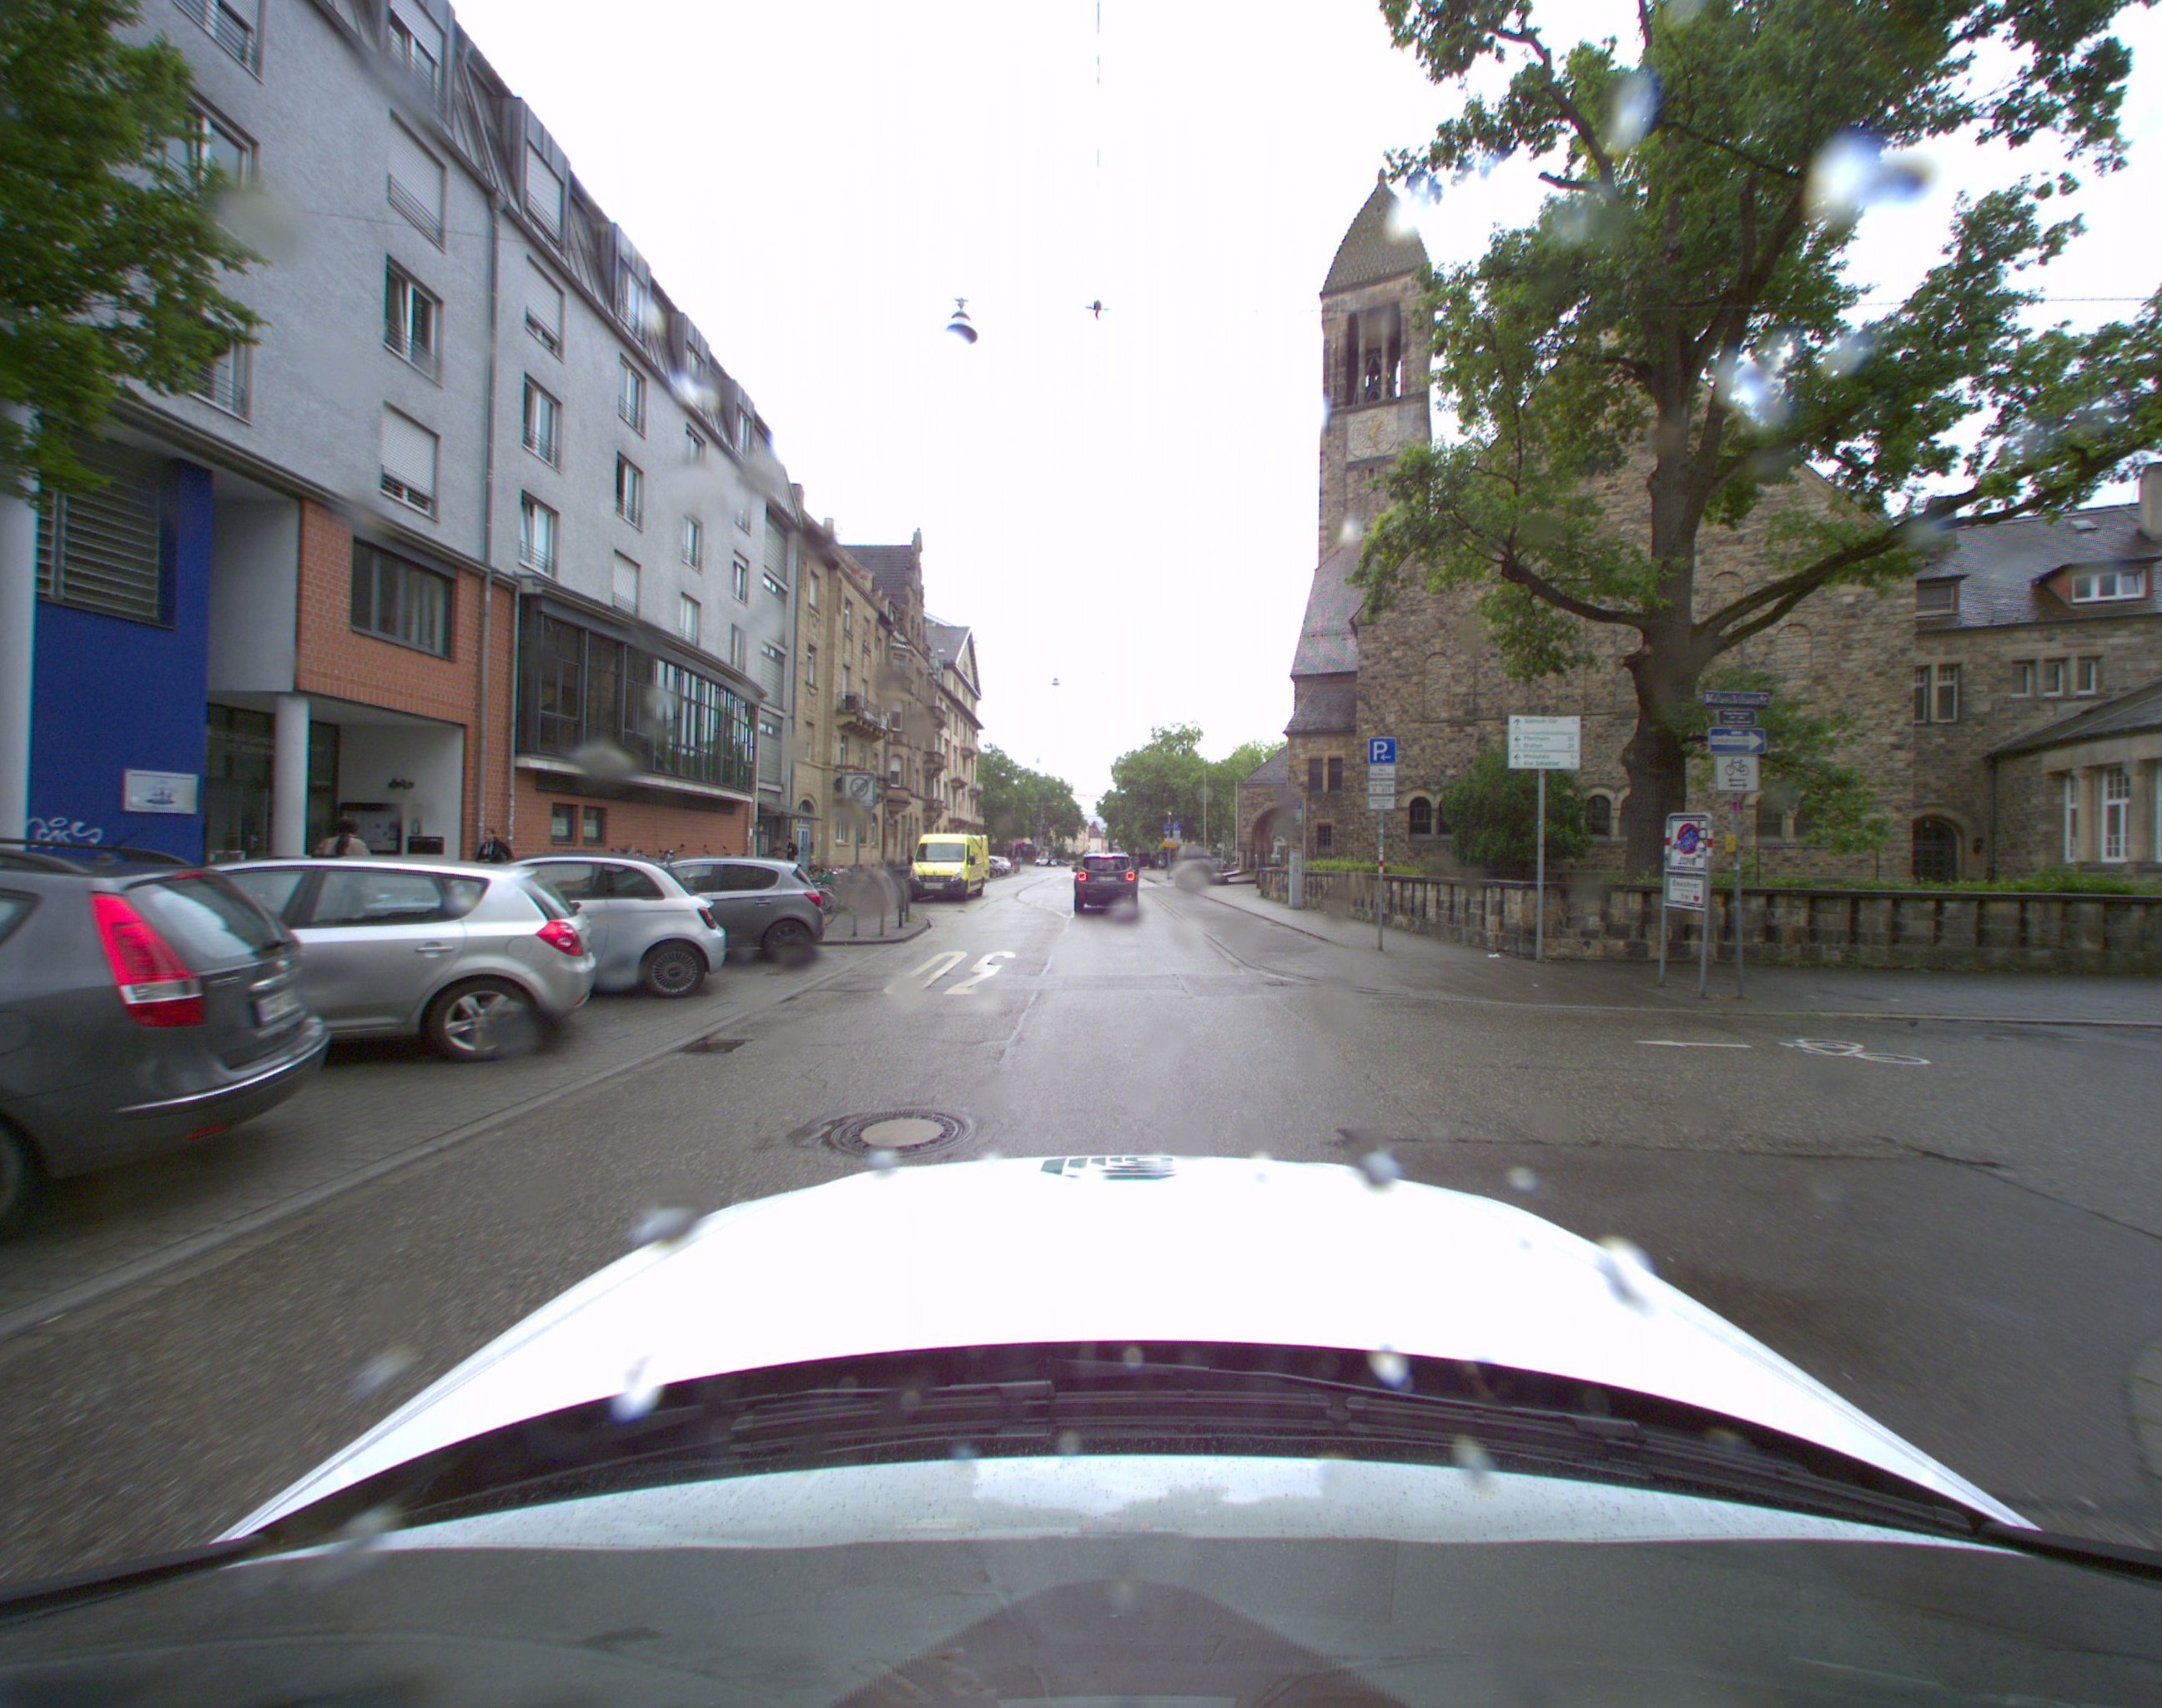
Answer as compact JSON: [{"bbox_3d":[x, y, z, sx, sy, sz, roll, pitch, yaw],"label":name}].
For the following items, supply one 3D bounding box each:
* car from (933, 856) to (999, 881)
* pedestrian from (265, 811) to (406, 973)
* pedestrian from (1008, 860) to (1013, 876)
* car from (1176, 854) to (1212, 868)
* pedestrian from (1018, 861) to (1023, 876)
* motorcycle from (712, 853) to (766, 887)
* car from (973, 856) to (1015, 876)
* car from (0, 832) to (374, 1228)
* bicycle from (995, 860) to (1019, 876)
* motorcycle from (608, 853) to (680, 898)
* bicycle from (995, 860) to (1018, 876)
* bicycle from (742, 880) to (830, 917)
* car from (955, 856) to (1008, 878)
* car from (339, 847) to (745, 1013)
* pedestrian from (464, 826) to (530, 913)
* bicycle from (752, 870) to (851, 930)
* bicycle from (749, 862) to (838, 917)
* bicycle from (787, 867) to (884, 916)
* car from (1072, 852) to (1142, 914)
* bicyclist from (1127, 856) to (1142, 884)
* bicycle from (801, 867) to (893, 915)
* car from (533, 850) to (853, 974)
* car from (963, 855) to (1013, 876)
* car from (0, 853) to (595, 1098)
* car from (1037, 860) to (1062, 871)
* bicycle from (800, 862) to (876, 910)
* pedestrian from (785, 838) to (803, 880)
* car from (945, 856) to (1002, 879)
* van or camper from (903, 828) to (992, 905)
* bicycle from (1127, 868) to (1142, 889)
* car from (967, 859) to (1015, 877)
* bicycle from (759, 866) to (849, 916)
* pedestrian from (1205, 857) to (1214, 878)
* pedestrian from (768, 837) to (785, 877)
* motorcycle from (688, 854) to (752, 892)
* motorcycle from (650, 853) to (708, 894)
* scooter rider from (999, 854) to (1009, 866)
[{"bbox_3d":[-7.560,0.980,53.690,3.873,1.479,1.864,3,-2,-40],"label":"car"},{"bbox_3d":[-8.577,0.417,9.399,0.820,1.752,0.758,3,0,8],"label":"pedestrian"},{"bbox_3d":[-7.233,1.454,83.524,0.466,1.585,0.659,1,-1,0],"label":"pedestrian"},{"bbox_3d":[19.045,1.164,137.005,5.877,2.334,2.062,0,-1,4],"label":"car"},{"bbox_3d":[-6.236,1.498,84.122,0.466,1.585,0.752,1,-1,0],"label":"pedestrian"},{"bbox_3d":[-12.257,0.584,29.229,0.566,1.174,1.790,3,-1,24],"label":"motorcycle"},{"bbox_3d":[-7.655,1.055,71.604,3.267,1.559,1.519,3,-1,-32],"label":"car"},{"bbox_3d":[-5.440,0.659,3.429,3.396,1.542,1.665,2,-1,-30],"label":"car"},{"bbox_3d":[-6.806,1.258,75.086,2.116,1.444,0.536,0,-1,-19],"label":"bicycle"},{"bbox_3d":[-12.380,0.587,23.157,0.750,1.174,2.116,3,-1,2],"label":"motorcycle"},{"bbox_3d":[-6.923,1.298,76.079,2.099,1.444,0.487,0,-1,-19],"label":"bicycle"},{"bbox_3d":[-6.506,0.976,17.989,1.716,0.731,0.507,2,-1,1],"label":"bicycle"},{"bbox_3d":[-7.626,0.994,62.563,3.519,1.518,1.866,3,-1,-32],"label":"car"},{"bbox_3d":[-5.649,0.736,8.980,3.395,1.507,1.665,2,-1,-29],"label":"car"},{"bbox_3d":[-10.924,0.287,15.255,0.705,1.551,0.609,3,0,8],"label":"pedestrian"},{"bbox_3d":[-5.489,0.909,16.060,1.719,1.097,0.506,2,-1,-4],"label":"bicycle"},{"bbox_3d":[-6.553,0.800,18.583,1.793,1.167,0.569,2,-1,5],"label":"bicycle"},{"bbox_3d":[-5.957,0.905,19.794,2.124,1.097,0.594,2,-1,1],"label":"bicycle"},{"bbox_3d":[0.720,0.805,24.240,1.892,1.671,4.505,0,-1,0],"label":"car"},{"bbox_3d":[2.668,0.806,40.856,0.702,1.403,1.171,0,-1,1],"label":"bicyclist"},{"bbox_3d":[-5.899,0.932,20.619,2.108,1.097,0.594,2,-1,1],"label":"bicycle"},{"bbox_3d":[-5.478,0.759,11.763,3.841,1.507,1.970,2,-1,-29],"label":"car"},{"bbox_3d":[-7.810,0.962,68.302,3.754,1.559,1.655,3,-1,-32],"label":"car"},{"bbox_3d":[-5.776,0.766,6.292,3.398,1.458,1.664,2,-1,-33],"label":"car"},{"bbox_3d":[-4.359,1.631,113.281,3.162,1.501,1.549,0,-1,18],"label":"car"},{"bbox_3d":[-6.595,0.876,22.153,1.820,1.213,0.624,4,-3,-35],"label":"bicycle"},{"bbox_3d":[-12.123,0.226,34.403,0.663,1.757,0.790,0,-1,-23],"label":"pedestrian"},{"bbox_3d":[-7.856,1.009,59.366,3.680,1.559,1.789,3,-1,-36],"label":"car"},{"bbox_3d":[-4.963,0.578,31.427,2.114,2.531,6.874,-3,-2,1],"label":"van or camper"},{"bbox_3d":[2.665,1.215,40.851,0.702,1.054,1.813,0,0,2],"label":"bicycle"},{"bbox_3d":[-7.238,1.159,65.670,3.436,1.316,1.761,3,-1,-32],"label":"car"},{"bbox_3d":[-6.511,0.861,19.204,1.907,1.097,0.507,2,-1,1],"label":"bicycle"},{"bbox_3d":[10.497,1.080,66.464,0.688,1.711,0.684,0,-1,1],"label":"pedestrian"},{"bbox_3d":[-12.766,0.129,34.134,0.663,1.675,0.791,0,-1,-23],"label":"pedestrian"},{"bbox_3d":[-12.123,0.644,27.430,0.748,1.174,2.123,3,-1,13],"label":"motorcycle"},{"bbox_3d":[-12.447,0.579,25.311,0.751,1.174,2.114,3,-1,-2],"label":"motorcycle"},{"bbox_3d":[-7.681,0.606,81.207,0.877,1.220,0.984,1,-3,1],"label":"scooter rider"}]
